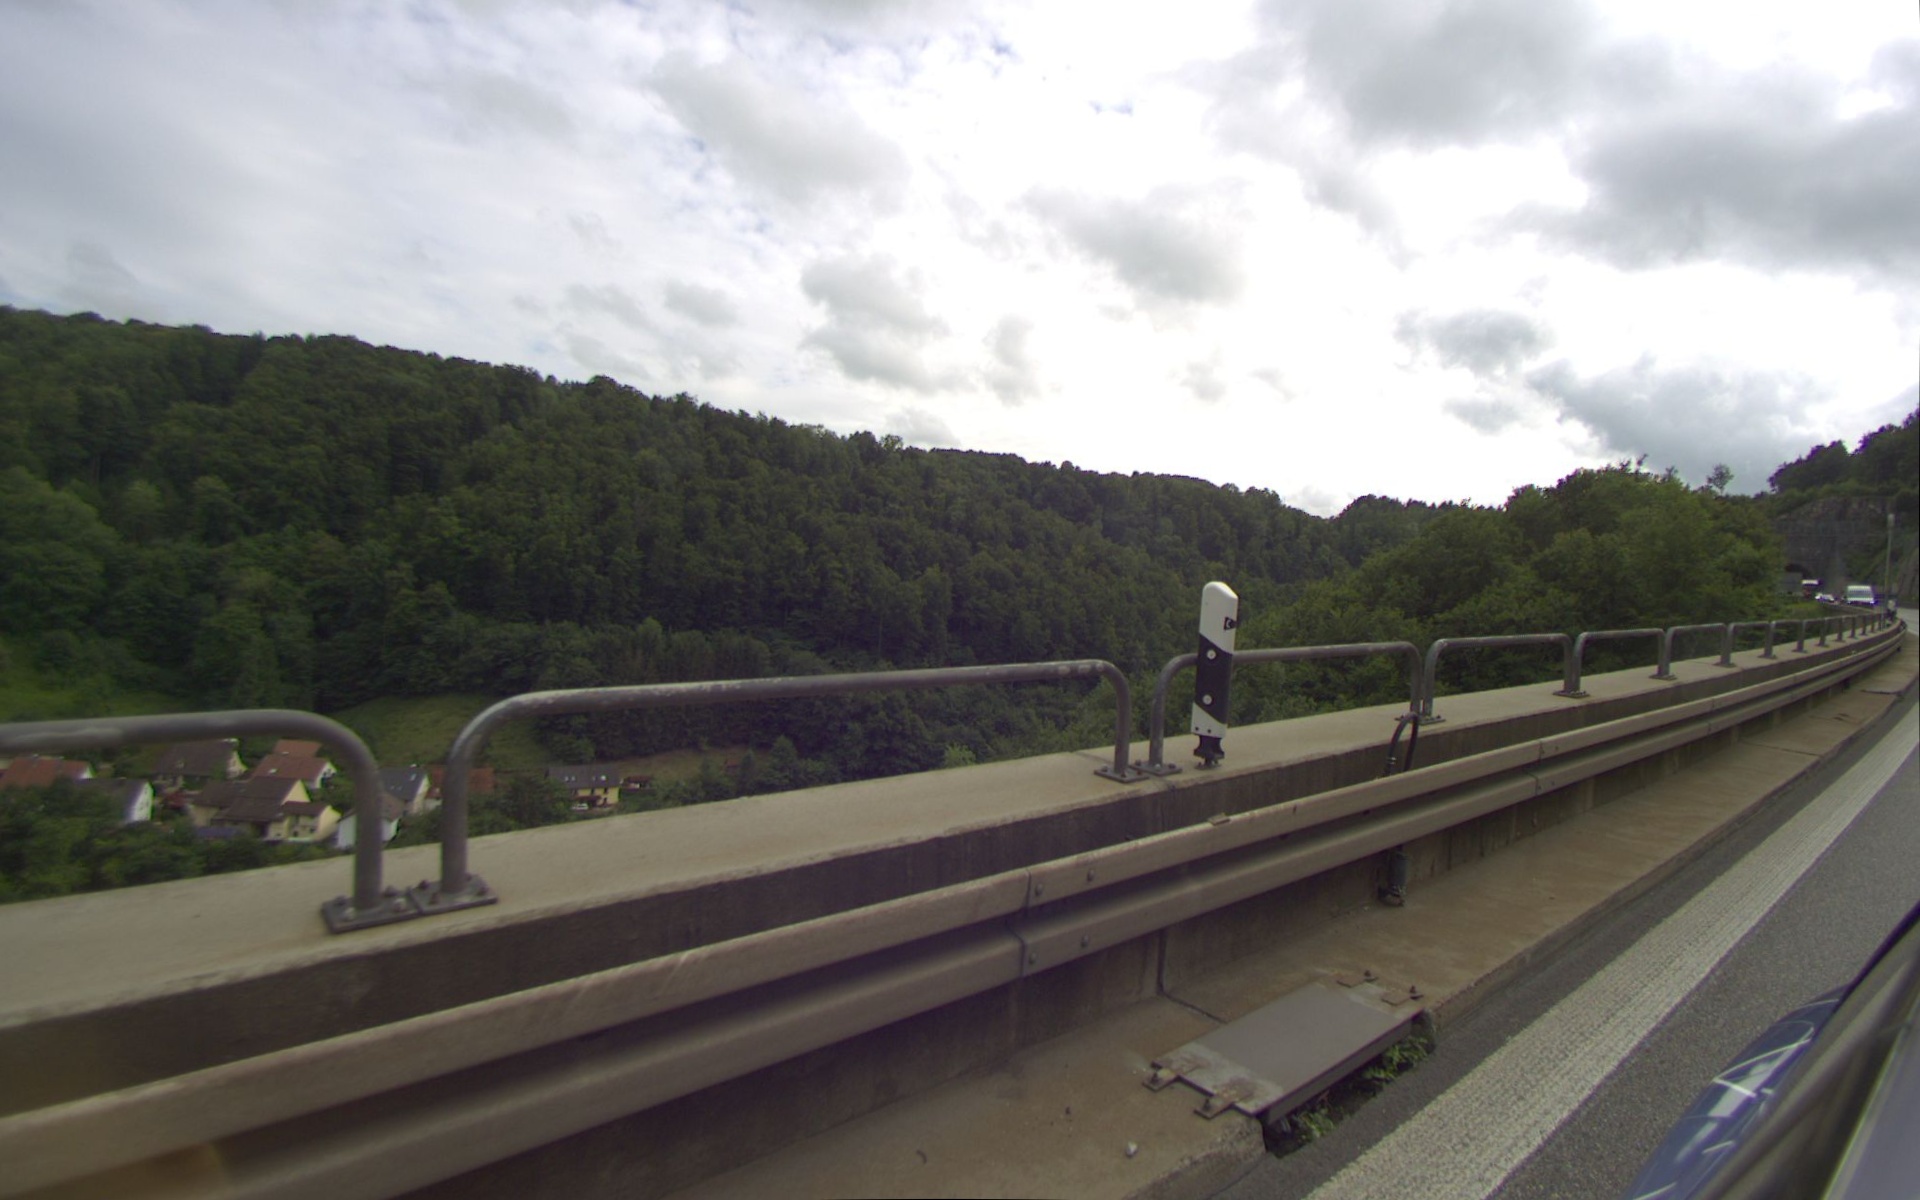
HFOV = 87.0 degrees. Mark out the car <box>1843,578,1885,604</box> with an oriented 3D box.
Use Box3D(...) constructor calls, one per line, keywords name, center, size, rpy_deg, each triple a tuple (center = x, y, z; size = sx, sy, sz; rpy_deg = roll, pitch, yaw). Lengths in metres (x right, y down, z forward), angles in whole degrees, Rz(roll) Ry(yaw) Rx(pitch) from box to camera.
Box3D(name="car", center=(87.593, -0.877, 98.125), size=(2.662, 2.453, 6.036), rpy_deg=(0, 0, 38))
